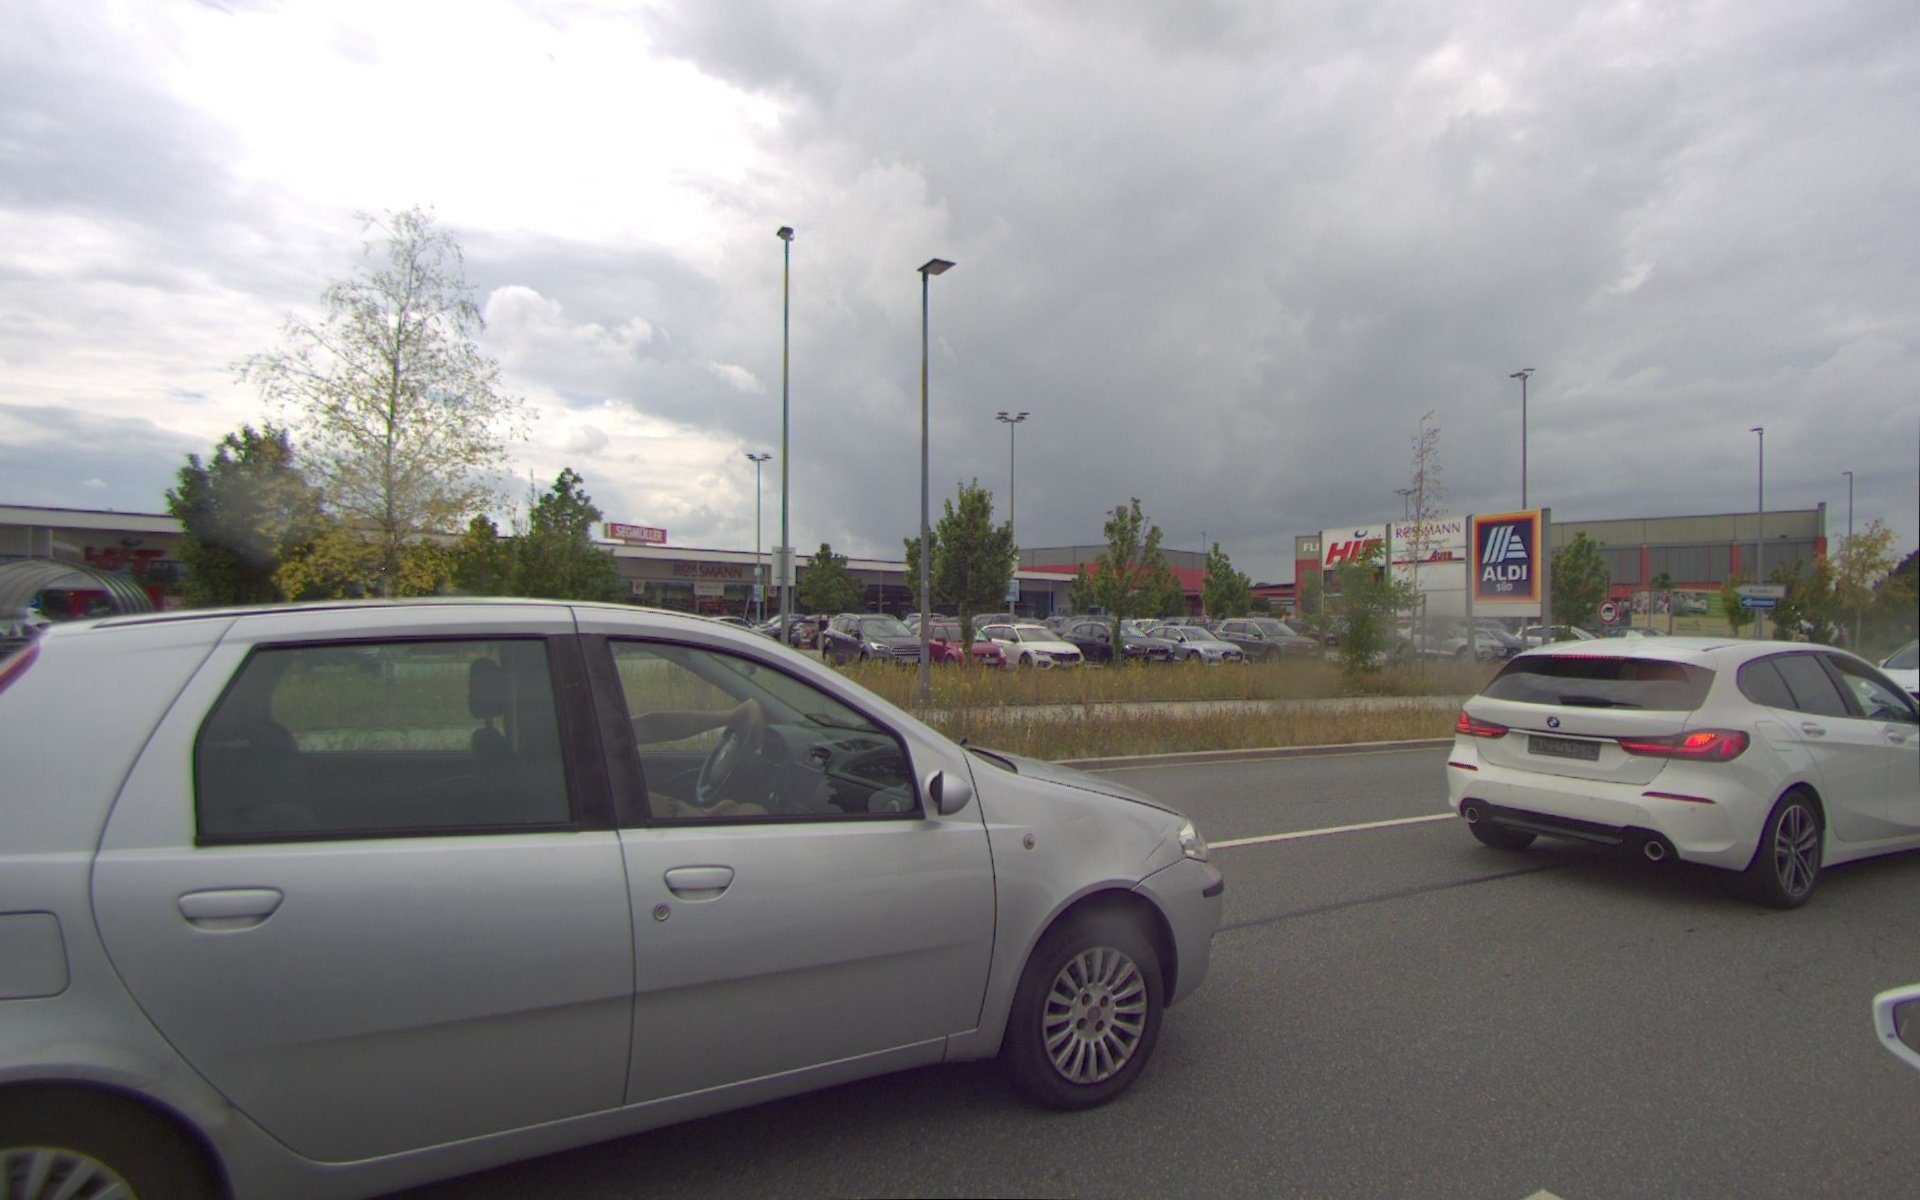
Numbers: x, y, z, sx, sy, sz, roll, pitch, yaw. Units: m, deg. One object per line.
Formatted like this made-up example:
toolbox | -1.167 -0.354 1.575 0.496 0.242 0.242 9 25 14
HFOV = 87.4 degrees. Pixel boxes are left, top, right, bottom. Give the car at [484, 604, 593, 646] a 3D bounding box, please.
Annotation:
car | -18.091 1.082 43.234 1.809 1.706 3.985 0 -1 37

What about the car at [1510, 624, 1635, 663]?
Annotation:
car | 26.381 1.843 43.364 1.970 1.580 4.217 1 -1 -36

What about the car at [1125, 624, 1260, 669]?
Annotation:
car | 7.611 1.480 33.302 2.003 1.357 4.292 1 -1 -30

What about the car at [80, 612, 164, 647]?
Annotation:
car | -37.117 1.285 44.494 3.987 1.502 1.997 0 -1 37

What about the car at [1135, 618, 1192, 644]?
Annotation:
car | 13.351 2.027 65.785 1.970 1.628 3.981 0 -1 40

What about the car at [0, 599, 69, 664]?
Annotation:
car | -29.809 0.928 29.829 2.130 1.924 4.894 -1 -2 45

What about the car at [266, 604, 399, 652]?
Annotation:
car | -26.290 1.174 42.156 2.211 1.899 4.285 0 -1 41

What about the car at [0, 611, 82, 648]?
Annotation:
car | -38.876 1.219 42.369 3.987 1.502 1.997 0 -1 37

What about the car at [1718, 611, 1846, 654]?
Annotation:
car | 53.546 2.070 65.547 6.340 2.633 2.230 0 -1 44

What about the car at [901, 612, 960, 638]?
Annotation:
car | -2.057 1.751 70.053 1.970 1.755 3.981 0 -1 40

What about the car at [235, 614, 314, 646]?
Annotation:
car | -33.510 1.426 49.084 3.987 1.502 1.997 0 -1 37

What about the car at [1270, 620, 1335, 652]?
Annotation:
car | 18.021 1.874 52.740 1.970 1.628 3.981 0 -1 40

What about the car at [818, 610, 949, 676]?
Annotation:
car | -2.225 1.138 28.010 2.055 1.677 4.282 1 -1 -29

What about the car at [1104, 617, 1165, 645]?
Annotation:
car | 10.560 1.874 60.644 1.970 1.628 3.981 0 -1 40

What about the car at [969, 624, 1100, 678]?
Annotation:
car | 2.162 1.477 30.335 1.986 1.476 4.301 1 -1 -28

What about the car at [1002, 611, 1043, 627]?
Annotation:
car | 6.421 1.967 103.392 1.985 1.628 3.952 2 -2 -41

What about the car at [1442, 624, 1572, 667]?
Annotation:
car | 21.982 1.807 40.520 2.020 1.533 4.227 1 -1 -27

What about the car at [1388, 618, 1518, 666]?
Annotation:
car | 19.424 1.616 39.720 2.006 1.746 4.220 2 -1 -31

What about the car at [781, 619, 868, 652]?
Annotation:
car | -6.471 1.682 48.225 1.811 1.528 3.981 0 -1 40

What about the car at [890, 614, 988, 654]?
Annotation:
car | -0.847 1.421 42.670 1.971 1.628 3.979 -1 -2 42

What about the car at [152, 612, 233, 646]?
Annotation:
car | -35.904 1.346 46.953 3.987 1.502 1.997 0 -1 37

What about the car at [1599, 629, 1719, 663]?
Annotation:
car | 32.804 2.126 47.238 1.977 1.454 4.207 1 -1 -33

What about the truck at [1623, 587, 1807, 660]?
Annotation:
truck | 39.594 1.234 52.763 8.277 3.588 2.854 1 -1 -10

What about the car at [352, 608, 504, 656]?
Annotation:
car | -18.196 1.104 34.499 1.970 1.539 4.176 0 -2 40

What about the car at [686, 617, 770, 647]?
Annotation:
car | -12.366 1.700 53.752 1.971 1.566 3.980 -1 -2 41

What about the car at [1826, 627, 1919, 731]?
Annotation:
car | 17.234 1.319 17.280 4.644 1.658 1.986 1 -3 -28

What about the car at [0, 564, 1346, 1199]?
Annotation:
car | -0.813 0.706 3.141 3.986 1.457 1.694 1 -1 -31

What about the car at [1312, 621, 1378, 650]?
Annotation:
car | 22.190 2.016 57.786 1.970 1.628 5.248 0 -1 40

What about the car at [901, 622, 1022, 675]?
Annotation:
car | -0.034 1.358 29.253 1.973 1.409 4.072 1 -1 -26

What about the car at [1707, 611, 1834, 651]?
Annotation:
car | 49.982 1.882 62.053 6.003 2.337 2.198 0 -1 43

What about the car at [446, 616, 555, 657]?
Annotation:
car | -20.141 1.583 44.171 1.809 1.706 3.985 0 -1 37

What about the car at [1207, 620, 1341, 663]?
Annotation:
car | 10.969 1.422 35.395 2.136 1.409 4.344 1 -1 -26

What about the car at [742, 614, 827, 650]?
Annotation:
car | -8.694 1.570 49.979 1.811 1.706 3.981 -1 -2 40

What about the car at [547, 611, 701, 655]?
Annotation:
car | -12.362 1.219 37.237 5.070 1.539 1.975 2 -2 -43

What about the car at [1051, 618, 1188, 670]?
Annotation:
car | 4.987 1.353 32.041 2.211 1.525 4.350 1 -1 -27

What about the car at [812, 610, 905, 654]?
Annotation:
car | -4.633 1.449 46.291 1.808 1.947 4.434 0 -1 35

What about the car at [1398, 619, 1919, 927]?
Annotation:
car | 5.105 0.919 6.703 4.141 1.488 1.872 2 -2 -28

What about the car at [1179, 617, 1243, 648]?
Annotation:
car | 14.082 1.810 56.219 1.970 1.628 3.981 0 -1 40

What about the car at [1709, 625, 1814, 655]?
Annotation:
car | 47.750 2.365 59.910 4.846 1.638 1.985 0 -2 41

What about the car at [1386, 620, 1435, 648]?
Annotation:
car | 29.823 2.226 66.435 1.970 1.752 3.981 0 -1 40

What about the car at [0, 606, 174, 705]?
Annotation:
car | -13.300 0.741 14.736 1.986 1.276 4.066 1 -1 -27

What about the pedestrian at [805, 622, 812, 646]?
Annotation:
pedestrian | -6.750 1.498 44.659 0.264 1.063 0.391 1 0 -5
